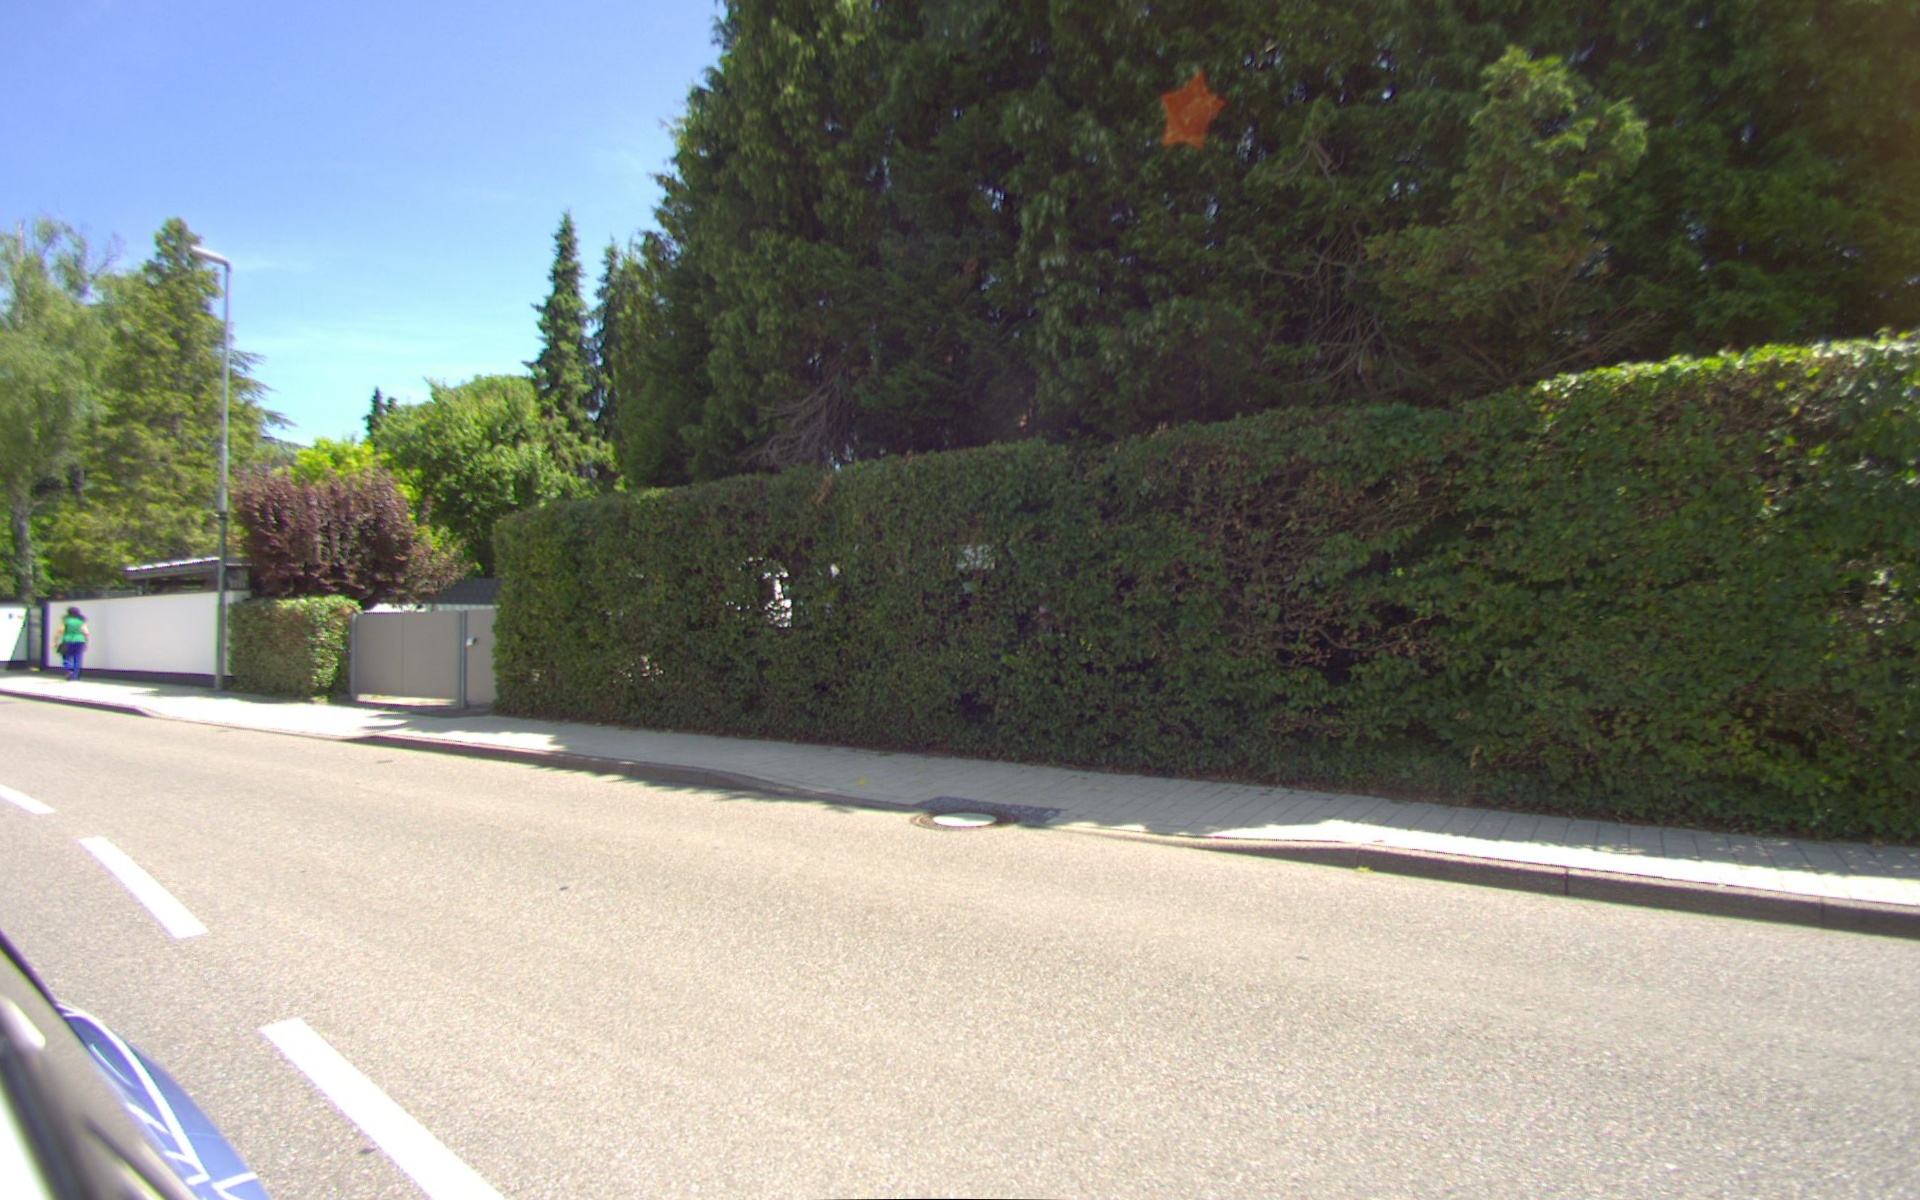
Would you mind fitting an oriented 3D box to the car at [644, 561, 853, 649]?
[{"bbox_3d":[-4.998,0.093,24.539,2.158,1.908,4.756,0,0,37],"label":"car"}]

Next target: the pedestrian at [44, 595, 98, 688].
[{"bbox_3d":[-19.881,0.902,22.628,0.802,2.029,0.715,0,0,33],"label":"pedestrian"}]
